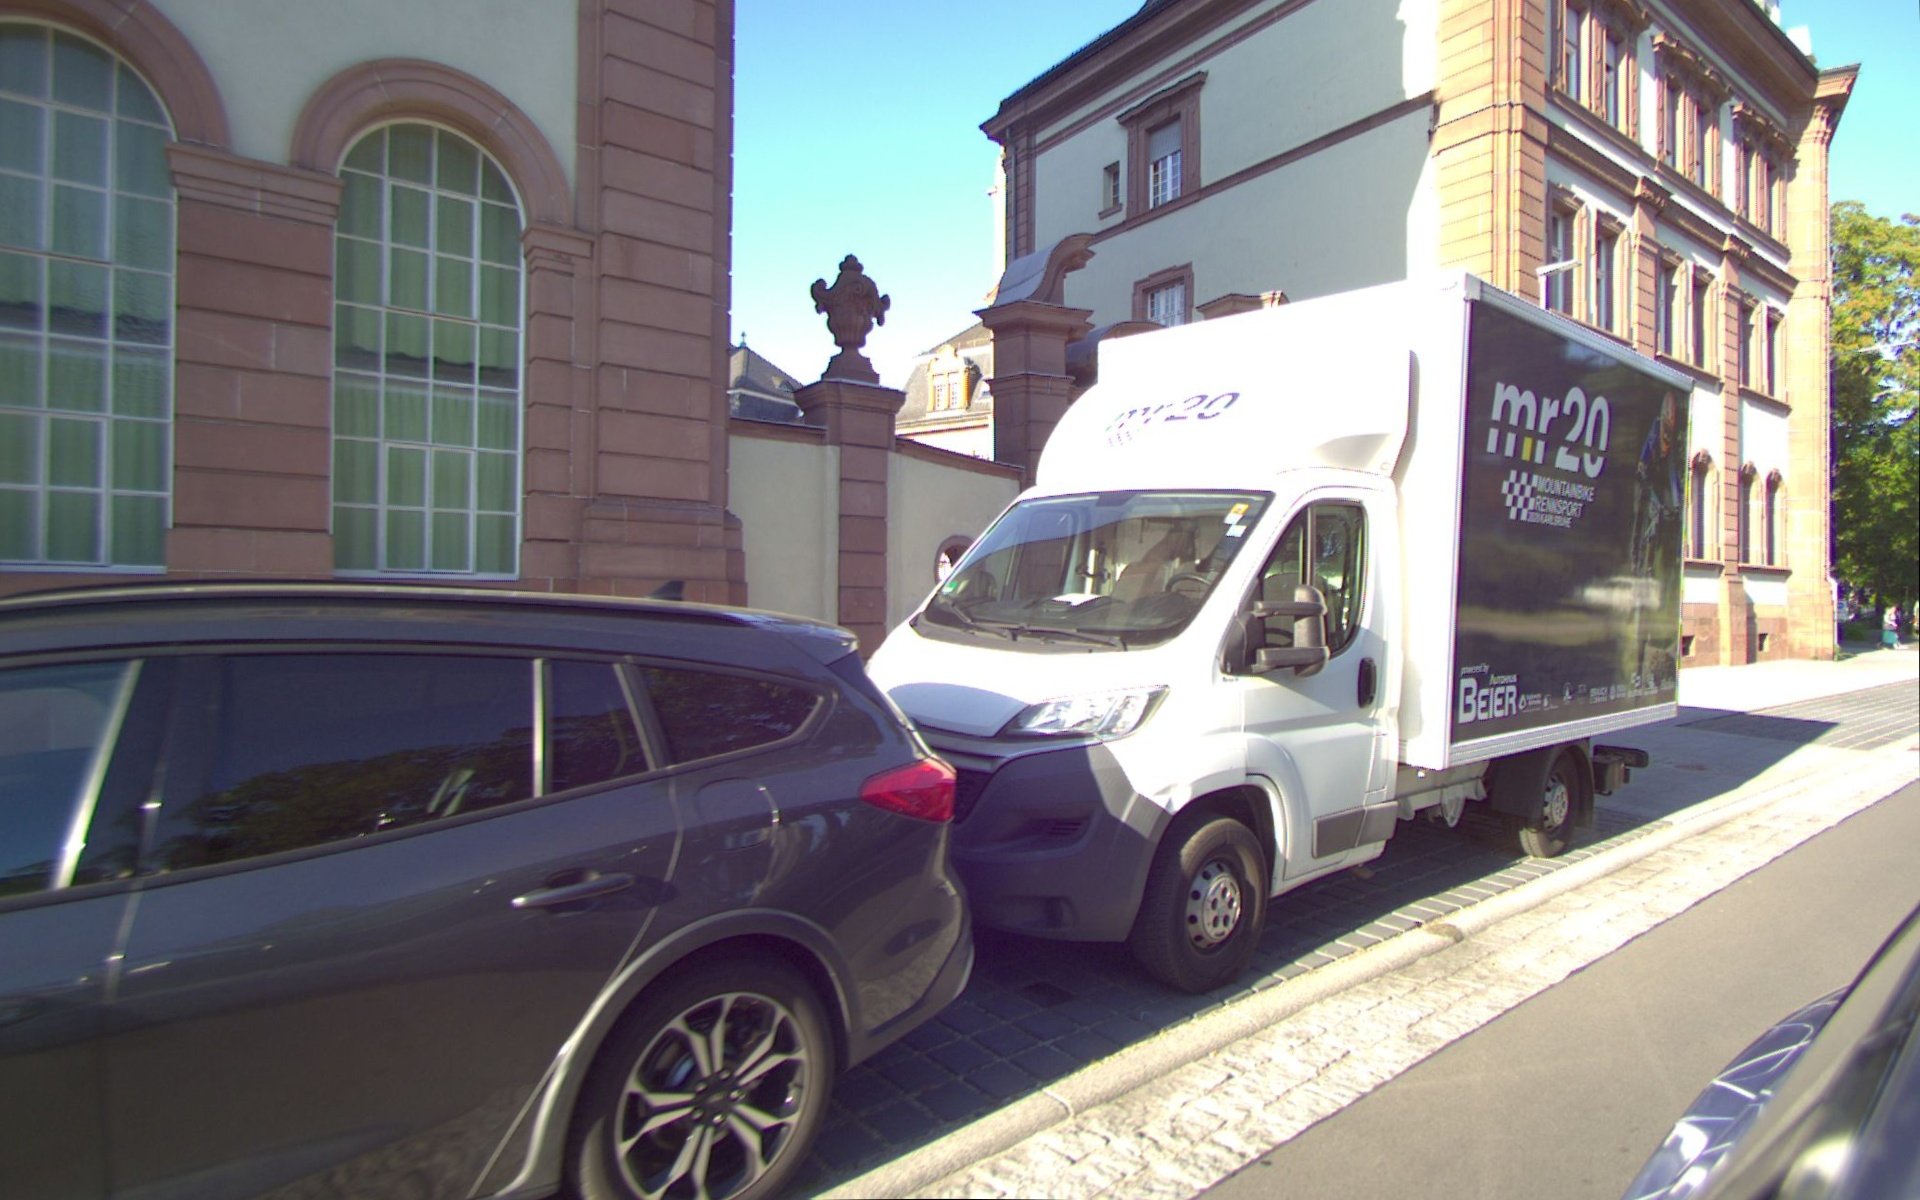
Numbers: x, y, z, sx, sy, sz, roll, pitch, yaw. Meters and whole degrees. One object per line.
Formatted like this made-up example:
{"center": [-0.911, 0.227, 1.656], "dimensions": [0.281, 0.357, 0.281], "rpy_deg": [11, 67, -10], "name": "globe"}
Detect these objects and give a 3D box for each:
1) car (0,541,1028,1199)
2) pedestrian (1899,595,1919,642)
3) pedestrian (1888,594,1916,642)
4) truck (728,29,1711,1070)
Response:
{"center": [-2.130, 0.649, 2.185], "dimensions": [4.488, 1.549, 1.773], "rpy_deg": [0, 2, -38], "name": "car"}
{"center": [37.775, 0.732, 40.213], "dimensions": [0.609, 1.864, 0.716], "rpy_deg": [0, -3, 37], "name": "pedestrian"}
{"center": [37.124, 0.698, 39.904], "dimensions": [0.713, 1.864, 0.779], "rpy_deg": [0, -2, 37], "name": "pedestrian"}
{"center": [1.982, -0.176, 6.025], "dimensions": [5.979, 3.159, 2.629], "rpy_deg": [1, 2, -40], "name": "truck"}
